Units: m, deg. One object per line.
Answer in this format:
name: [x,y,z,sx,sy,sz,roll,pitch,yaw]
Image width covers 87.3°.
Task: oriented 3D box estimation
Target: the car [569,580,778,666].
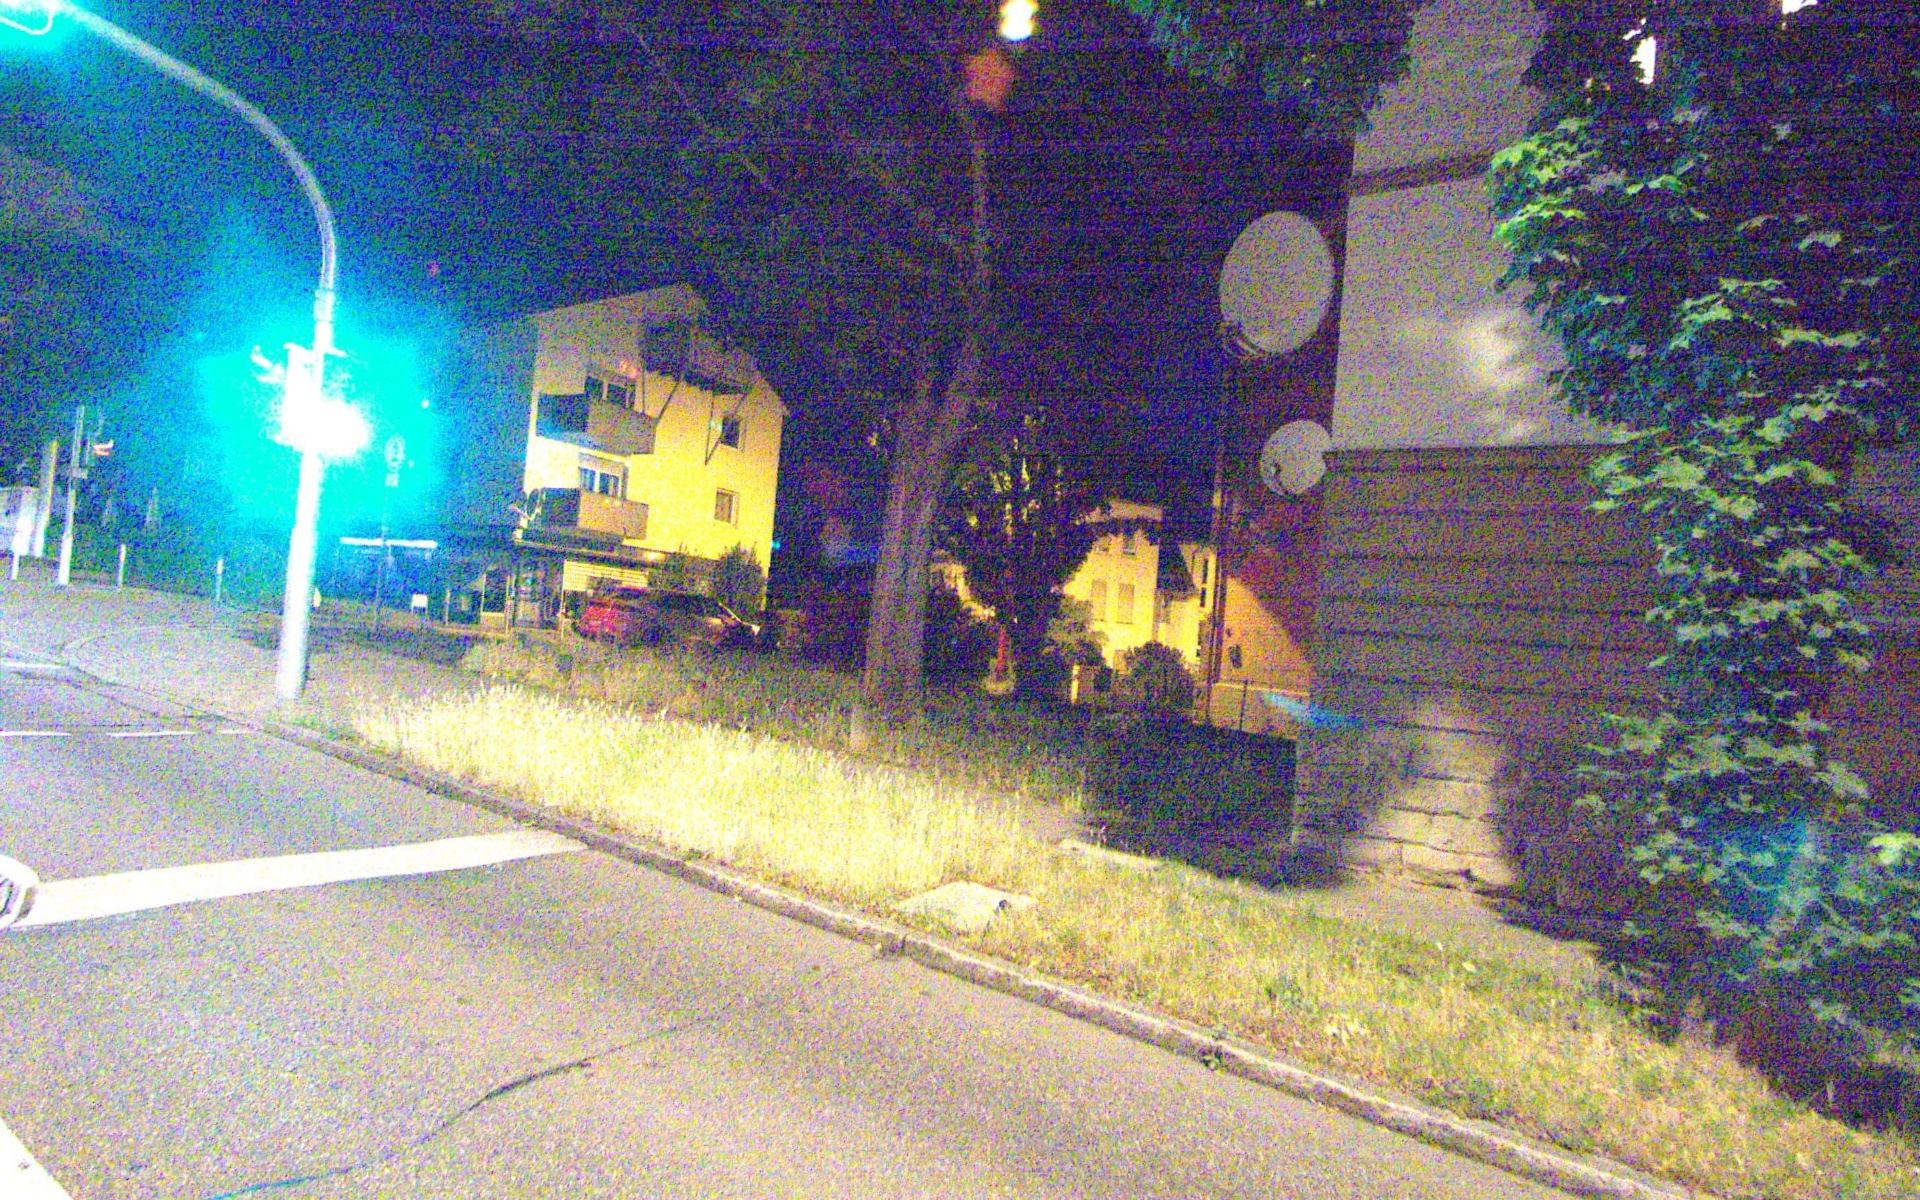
car: [-6.508,0.586,23.302,1.778,1.577,4.366,3,-3,38]
